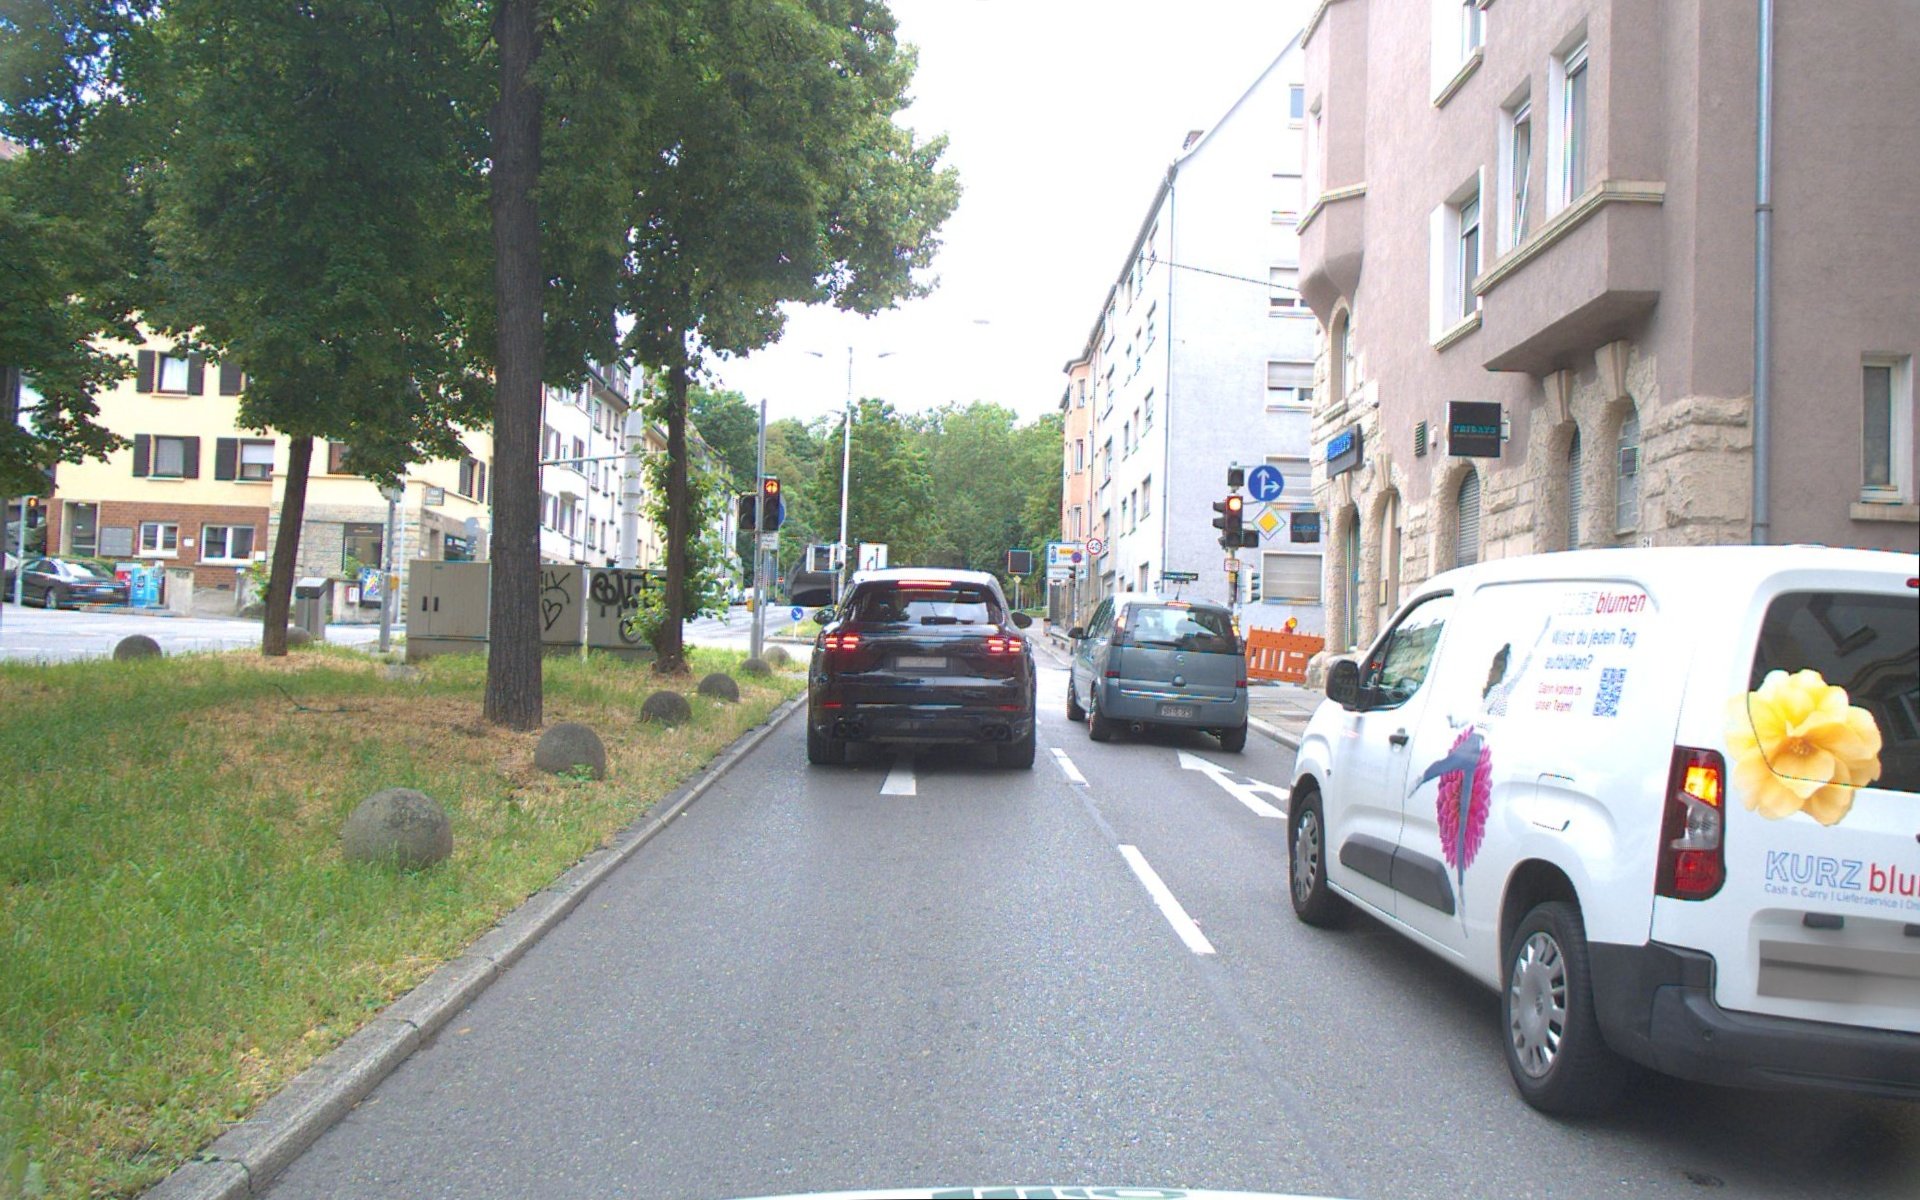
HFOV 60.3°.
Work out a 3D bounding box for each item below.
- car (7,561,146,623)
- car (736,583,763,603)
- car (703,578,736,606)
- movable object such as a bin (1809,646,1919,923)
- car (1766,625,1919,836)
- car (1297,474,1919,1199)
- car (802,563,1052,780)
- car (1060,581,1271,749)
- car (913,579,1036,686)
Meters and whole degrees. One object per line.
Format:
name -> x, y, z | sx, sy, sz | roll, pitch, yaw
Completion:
car -> -25.806, -0.245, 48.301 | 3.916, 1.694, 1.877 | 1, -2, 33
car -> -17.217, -0.586, 135.462 | 1.758, 1.536, 3.999 | 2, 0, -2
car -> -16.576, -0.560, 114.055 | 1.758, 1.841, 3.999 | 2, 0, -2
movable object such as a bin -> 5.435, 0.995, 8.998 | 0.705, 1.446, 1.692 | 1, -1, -3
car -> 8.765, 1.040, 13.035 | 3.906, 1.427, 1.800 | 2, 2, -1
car -> 2.707, 0.704, 6.770 | 1.811, 1.857, 5.022 | 3, -1, 3
car -> -0.258, 0.543, 15.138 | 1.953, 1.681, 4.000 | 1, 1, 0
car -> 2.230, 0.663, 18.867 | 1.717, 1.621, 3.628 | 4, 0, -3
car -> 0.239, 0.539, 28.666 | 1.953, 1.682, 4.000 | 1, 0, 0
